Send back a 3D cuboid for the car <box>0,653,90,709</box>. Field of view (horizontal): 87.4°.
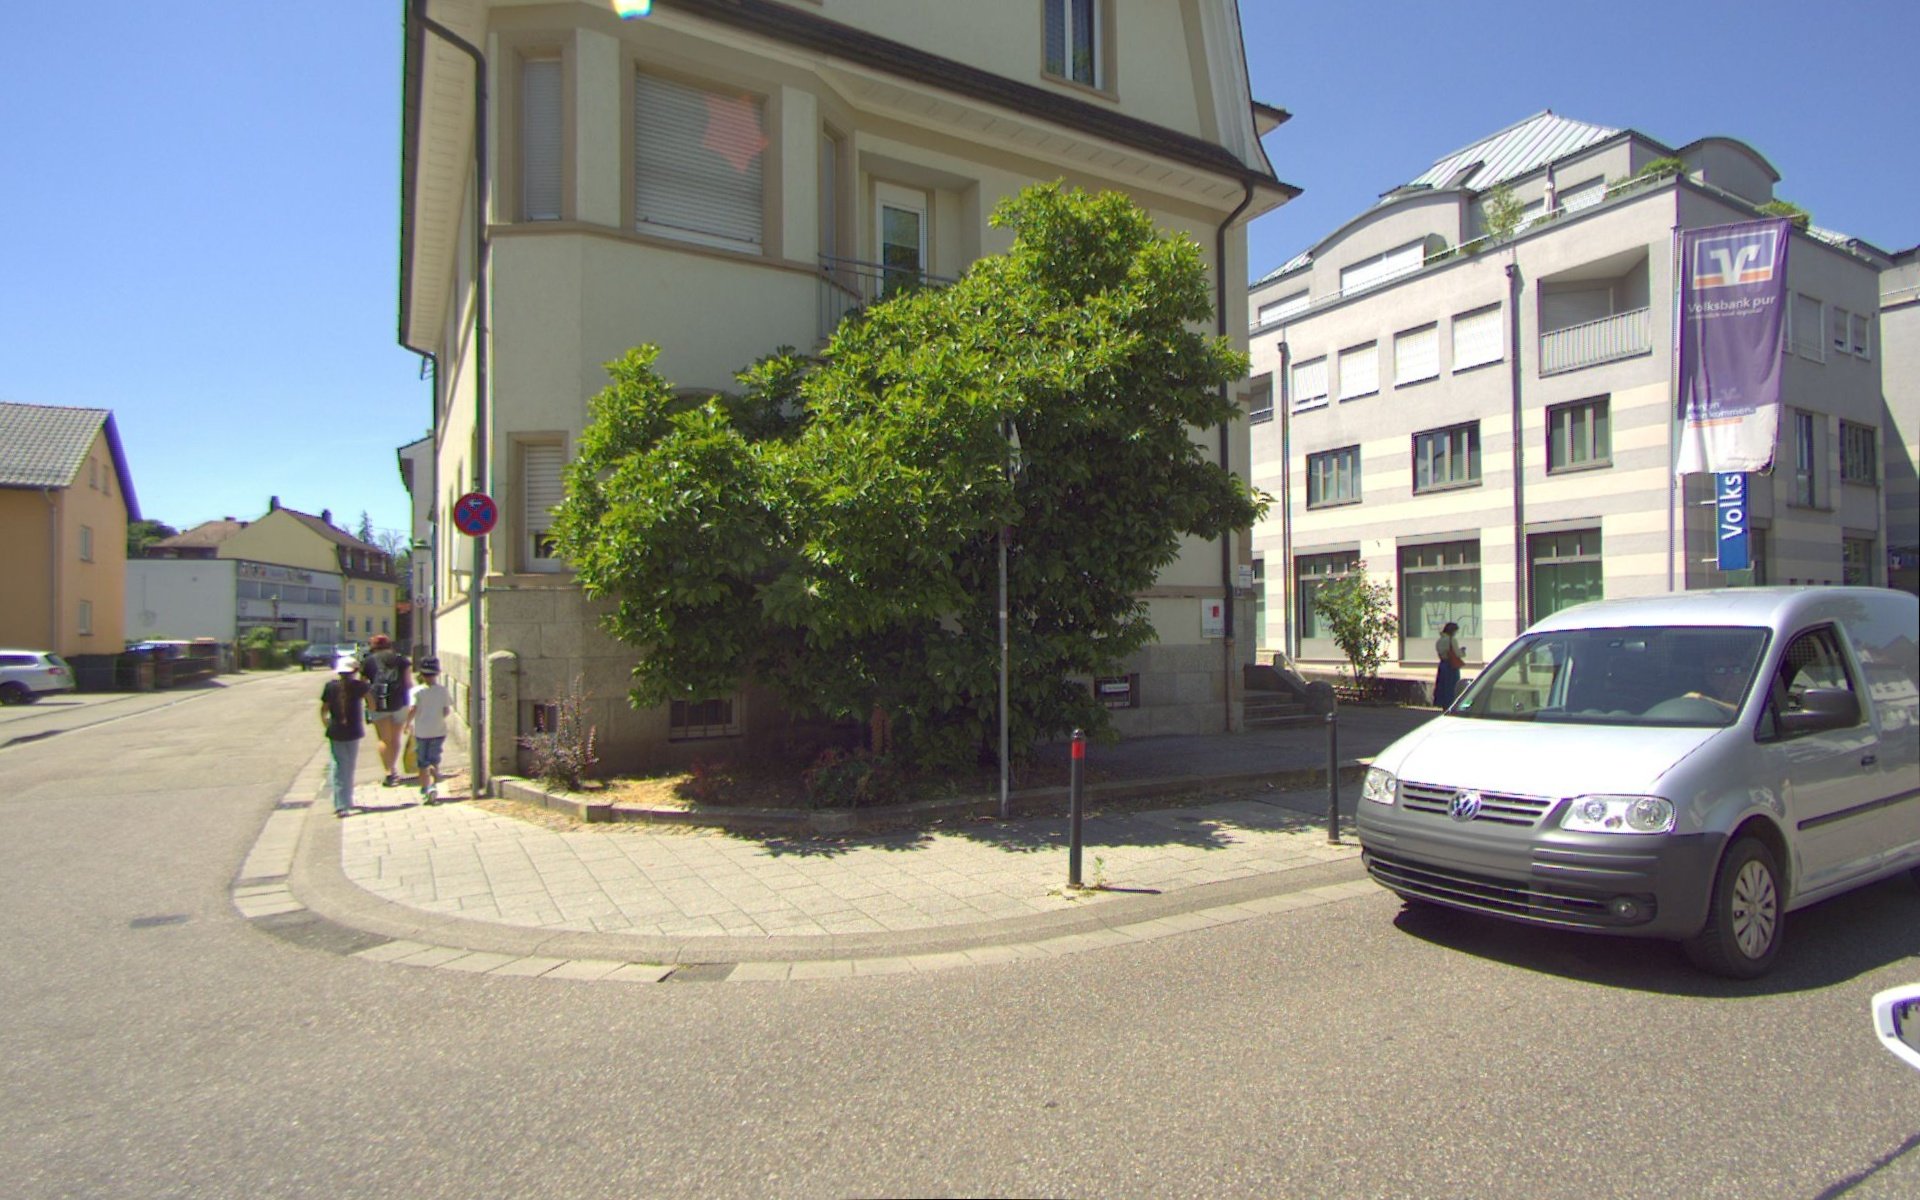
[{"bbox_3d":[-26.809,2.190,27.150,4.646,1.481,1.913,1,-3,-30],"label":"car"}]

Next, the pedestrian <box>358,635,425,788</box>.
[{"bbox_3d":[-6.110,1.162,10.808,0.591,1.571,0.723,1,-3,-30],"label":"pedestrian"}]

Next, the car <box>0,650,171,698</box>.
[{"bbox_3d":[-29.504,2.428,33.596,4.646,1.481,1.913,1,-3,-30],"label":"car"}]

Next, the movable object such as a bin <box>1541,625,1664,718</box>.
[{"bbox_3d":[11.447,1.236,17.925,1.279,1.508,1.380,1,1,-30],"label":"movable object such as a bin"}]

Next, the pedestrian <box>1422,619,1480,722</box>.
[{"bbox_3d":[8.298,1.181,16.973,0.726,1.696,0.537,1,-2,-31],"label":"pedestrian"}]

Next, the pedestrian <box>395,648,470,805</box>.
[{"bbox_3d":[-5.002,1.162,9.523,0.591,1.401,0.723,1,-3,-30],"label":"pedestrian"}]

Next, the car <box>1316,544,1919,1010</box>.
[{"bbox_3d":[4.191,0.789,5.819,4.182,1.849,1.694,1,-4,-30],"label":"car"}]

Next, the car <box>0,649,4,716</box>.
[{"bbox_3d":[-23.048,1.766,20.565,4.646,1.481,1.913,1,-3,-30],"label":"car"}]

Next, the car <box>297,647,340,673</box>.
[{"bbox_3d":[-39.706,3.685,62.245,1.433,1.586,3.630,0,-3,-19],"label":"car"}]

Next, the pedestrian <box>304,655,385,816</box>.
[{"bbox_3d":[-5.694,1.219,9.324,0.591,1.401,0.723,1,-3,-30],"label":"pedestrian"}]

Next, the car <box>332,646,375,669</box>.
[{"bbox_3d":[-43.349,4.121,71.861,1.430,1.586,3.639,0,-3,-11],"label":"car"}]
